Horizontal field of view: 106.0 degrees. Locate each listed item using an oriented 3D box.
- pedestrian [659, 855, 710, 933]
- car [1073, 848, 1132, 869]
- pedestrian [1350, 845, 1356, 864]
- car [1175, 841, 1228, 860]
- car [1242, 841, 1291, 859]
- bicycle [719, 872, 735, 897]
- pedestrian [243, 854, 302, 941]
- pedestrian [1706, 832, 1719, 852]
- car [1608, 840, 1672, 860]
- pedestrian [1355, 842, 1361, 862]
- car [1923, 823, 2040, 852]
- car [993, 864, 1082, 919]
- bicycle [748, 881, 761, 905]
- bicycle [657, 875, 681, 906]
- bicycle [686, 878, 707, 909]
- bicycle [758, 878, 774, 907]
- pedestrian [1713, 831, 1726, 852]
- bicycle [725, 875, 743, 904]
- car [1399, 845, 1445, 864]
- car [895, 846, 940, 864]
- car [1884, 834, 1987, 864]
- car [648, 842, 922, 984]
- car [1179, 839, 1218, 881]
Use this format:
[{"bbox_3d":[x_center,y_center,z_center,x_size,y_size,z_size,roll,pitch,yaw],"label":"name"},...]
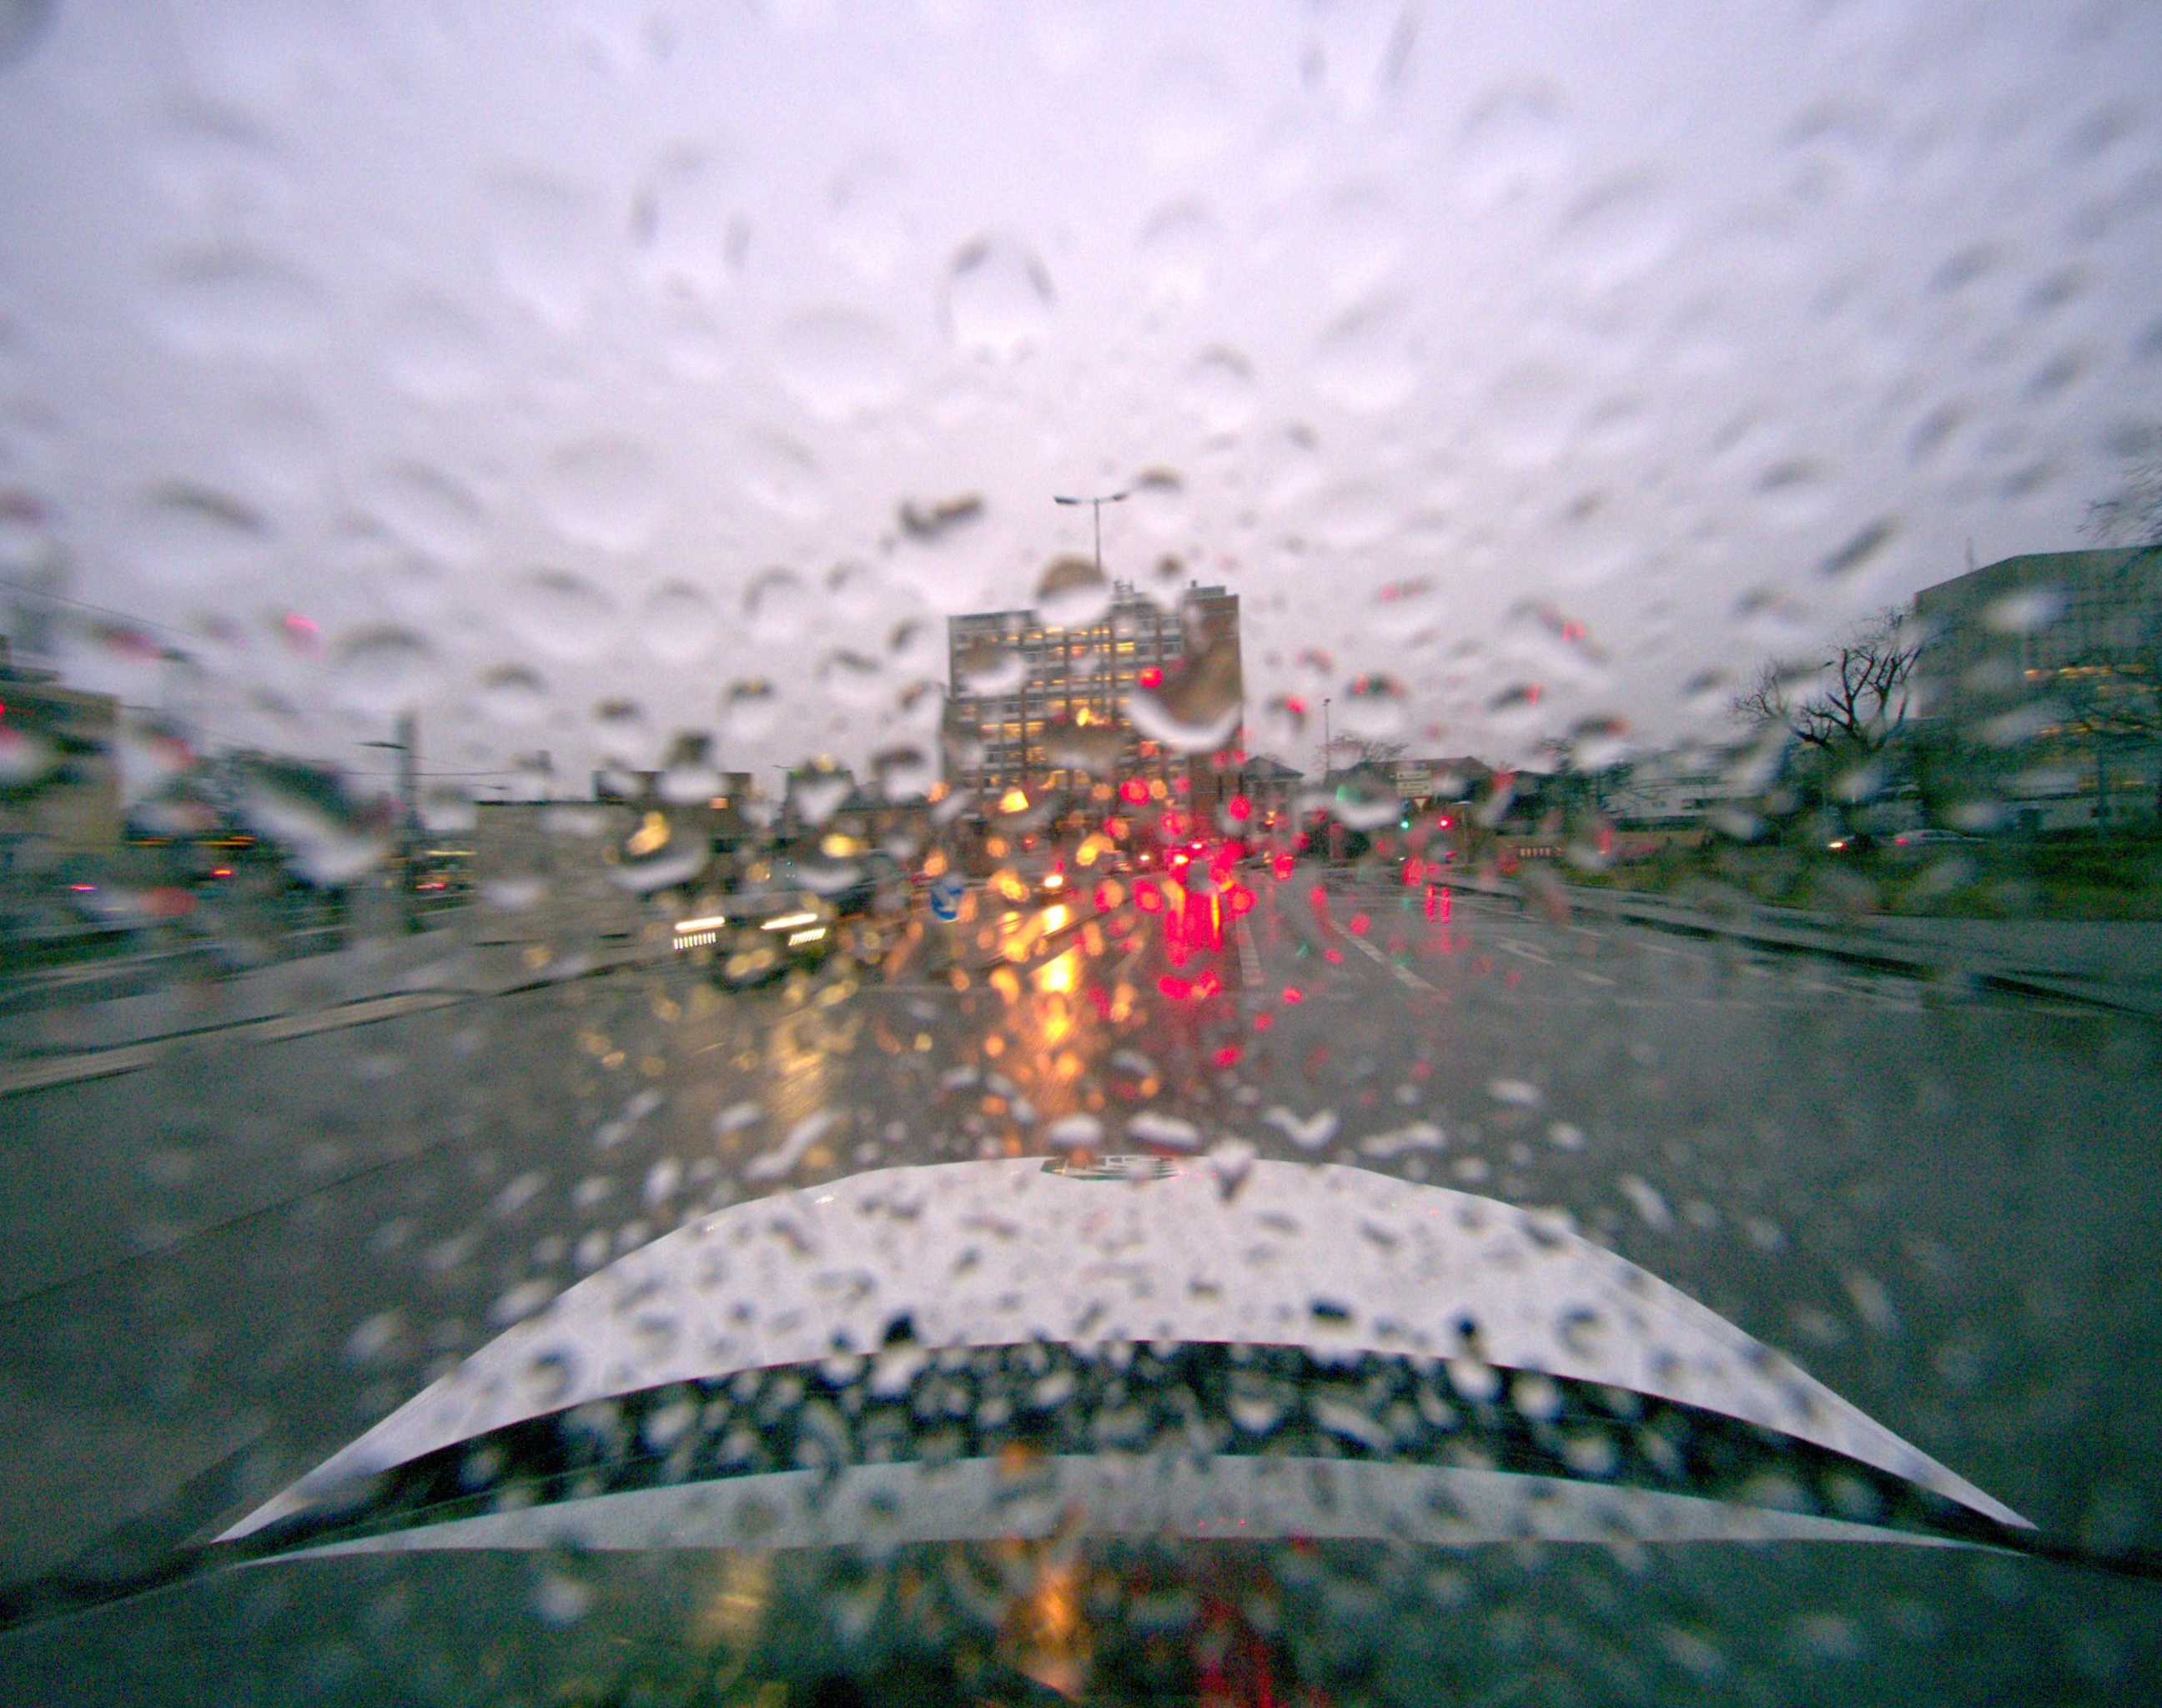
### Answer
[{"bbox_3d":[-8.726,0.873,17.945,0.668,1.674,0.733,-1,-2,13],"label":"pedestrian"},{"bbox_3d":[2.002,0.436,76.421,5.107,1.913,2.011,-1,0,25],"label":"car"},{"bbox_3d":[25.927,0.038,77.533,0.433,1.839,0.462,-1,-2,28],"label":"pedestrian"},{"bbox_3d":[13.153,-0.342,89.047,5.505,2.024,2.008,-1,-2,16],"label":"car"},{"bbox_3d":[16.029,-0.316,70.479,3.880,1.486,1.477,-1,-2,25],"label":"car"},{"bbox_3d":[-16.517,1.418,38.021,0.550,1.165,1.886,1,-2,-19],"label":"bicycle"},{"bbox_3d":[-17.229,0.913,17.368,0.606,1.813,0.818,1,-2,-25],"label":"pedestrian"},{"bbox_3d":[54.319,-1.009,70.032,0.619,1.725,0.763,-1,-2,17],"label":"pedestrian"},{"bbox_3d":[42.583,-0.297,62.109,3.759,1.398,1.572,-1,-2,18],"label":"car"},{"bbox_3d":[26.036,-0.174,76.668,0.454,1.839,0.441,-1,-2,27],"label":"pedestrian"},{"bbox_3d":[33.246,-0.610,30.156,2.647,0.977,1.311,-2,1,35],"label":"car"},{"bbox_3d":[-1.244,1.097,25.224,1.736,1.378,4.378,-3,0,10],"label":"car"},{"bbox_3d":[-16.305,1.938,40.676,0.551,1.165,1.885,1,-2,-21],"label":"bicycle"},{"bbox_3d":[-15.972,1.401,31.602,0.550,1.165,1.886,1,-2,-19],"label":"bicycle"},{"bbox_3d":[-14.907,1.516,31.595,0.550,1.165,1.886,1,-2,-19],"label":"bicycle"},{"bbox_3d":[-12.996,1.581,33.600,0.550,1.165,1.886,1,-2,-19],"label":"bicycle"},{"bbox_3d":[54.096,-1.059,68.996,0.619,1.725,0.763,-1,-2,17],"label":"pedestrian"},{"bbox_3d":[-14.305,1.431,33.633,0.550,1.165,1.886,1,-2,-19],"label":"bicycle"},{"bbox_3d":[27.759,0.049,66.270,3.379,1.398,1.477,-1,-2,25],"label":"car"},{"bbox_3d":[-19.273,0.186,96.134,4.889,2.014,2.010,-1,-2,22],"label":"car"},{"bbox_3d":[49.035,-0.247,46.810,3.607,1.651,1.897,-1,-2,14],"label":"car"},{"bbox_3d":[-4.053,0.700,12.130,1.744,1.662,4.542,-3,0,9],"label":"car"},{"bbox_3d":[5.394,0.245,37.148,1.637,1.819,4.011,0,1,10],"label":"car"}]
